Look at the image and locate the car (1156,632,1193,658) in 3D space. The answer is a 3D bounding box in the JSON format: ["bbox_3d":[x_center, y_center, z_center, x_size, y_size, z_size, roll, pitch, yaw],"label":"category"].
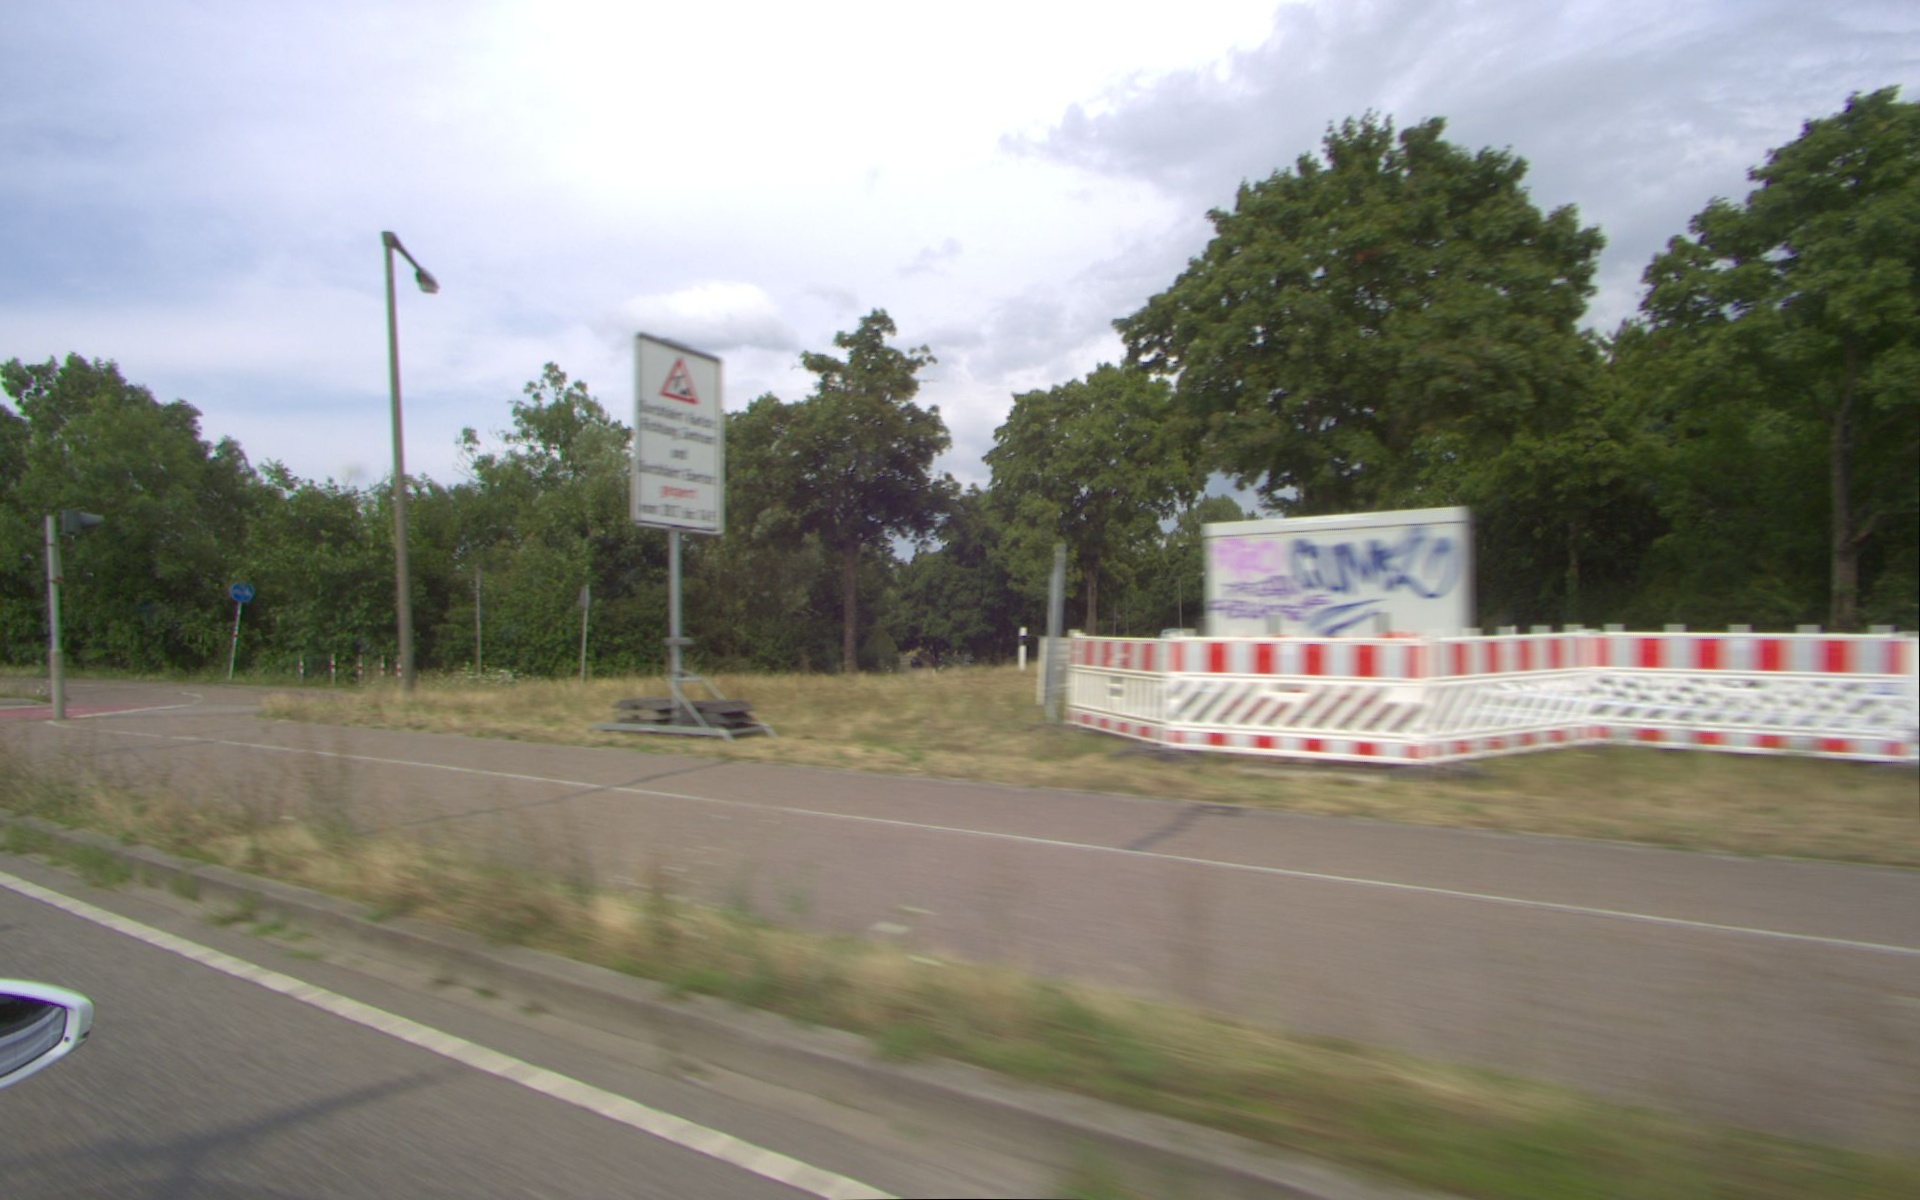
[{"bbox_3d":[12.980,2.730,60.862,1.843,1.537,4.001,-1,-2,7],"label":"car"}]
